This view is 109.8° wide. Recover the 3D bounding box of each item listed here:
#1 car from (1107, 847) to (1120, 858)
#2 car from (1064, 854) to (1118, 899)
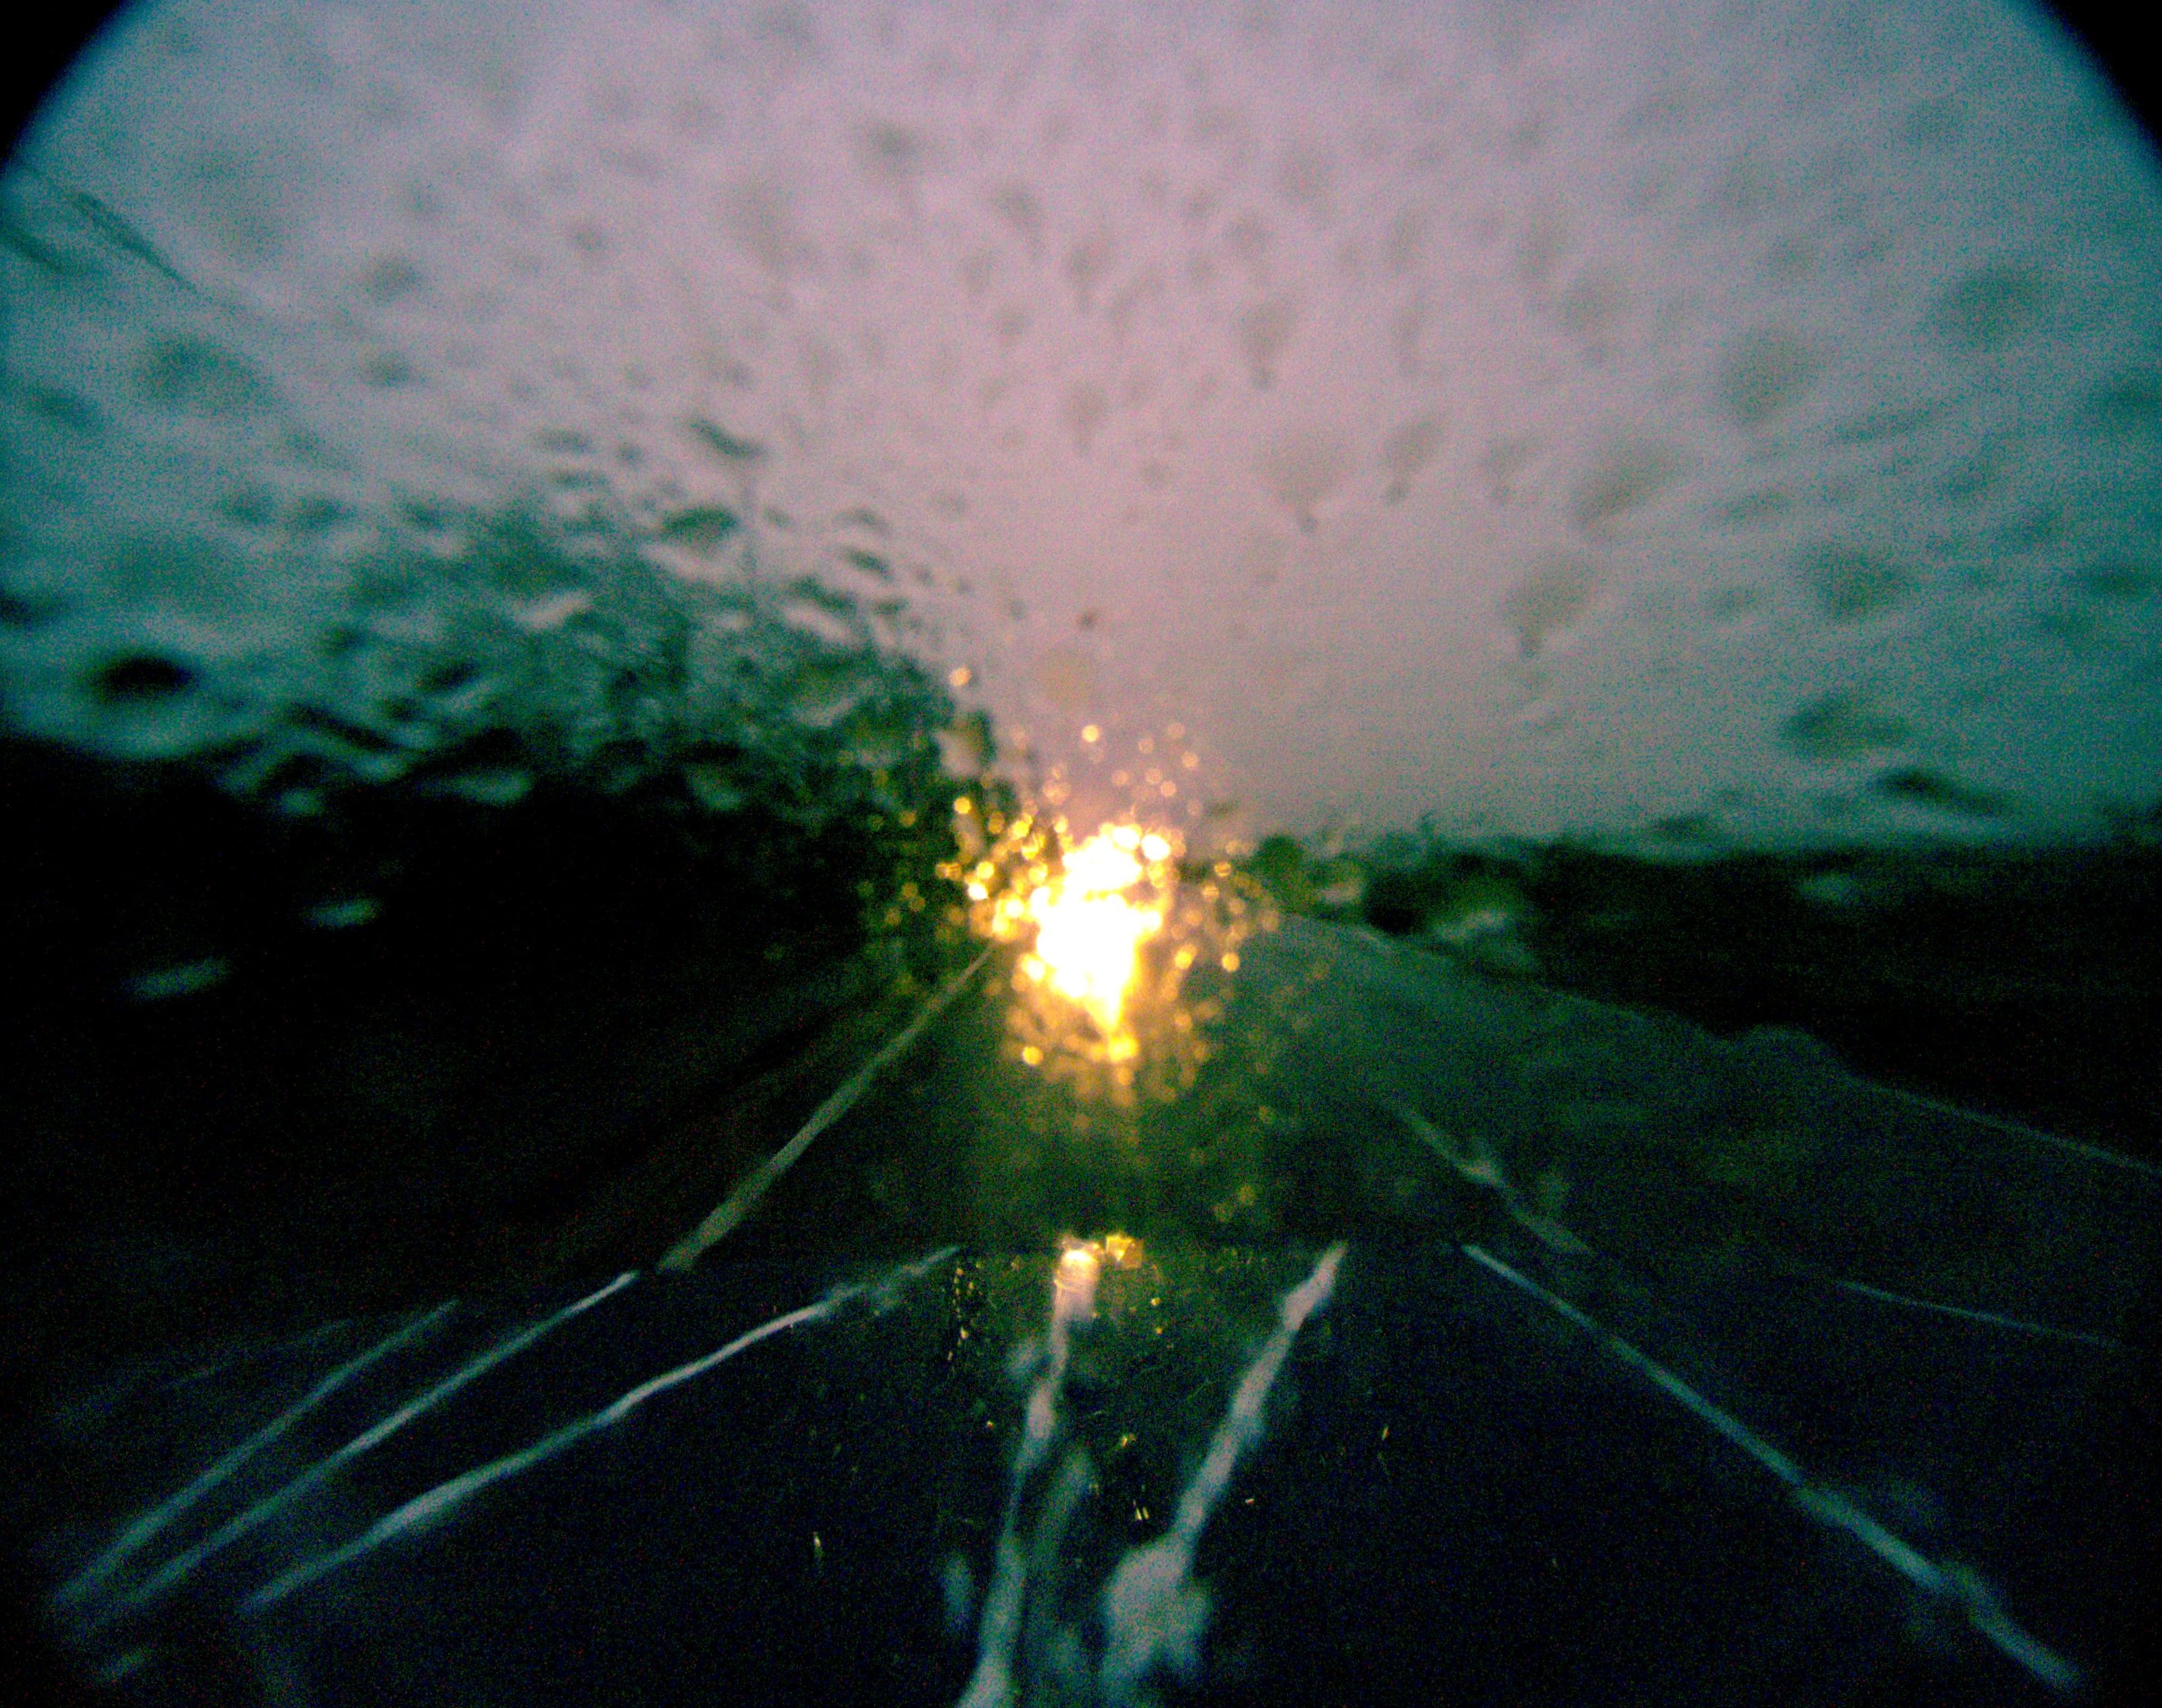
[{"bbox_3d":[5.112,-0.242,119.709,1.844,1.711,3.956,-2,1,0],"label":"car"},{"bbox_3d":[0.372,0.798,28.813,1.844,1.484,3.956,-2,1,0],"label":"car"}]
